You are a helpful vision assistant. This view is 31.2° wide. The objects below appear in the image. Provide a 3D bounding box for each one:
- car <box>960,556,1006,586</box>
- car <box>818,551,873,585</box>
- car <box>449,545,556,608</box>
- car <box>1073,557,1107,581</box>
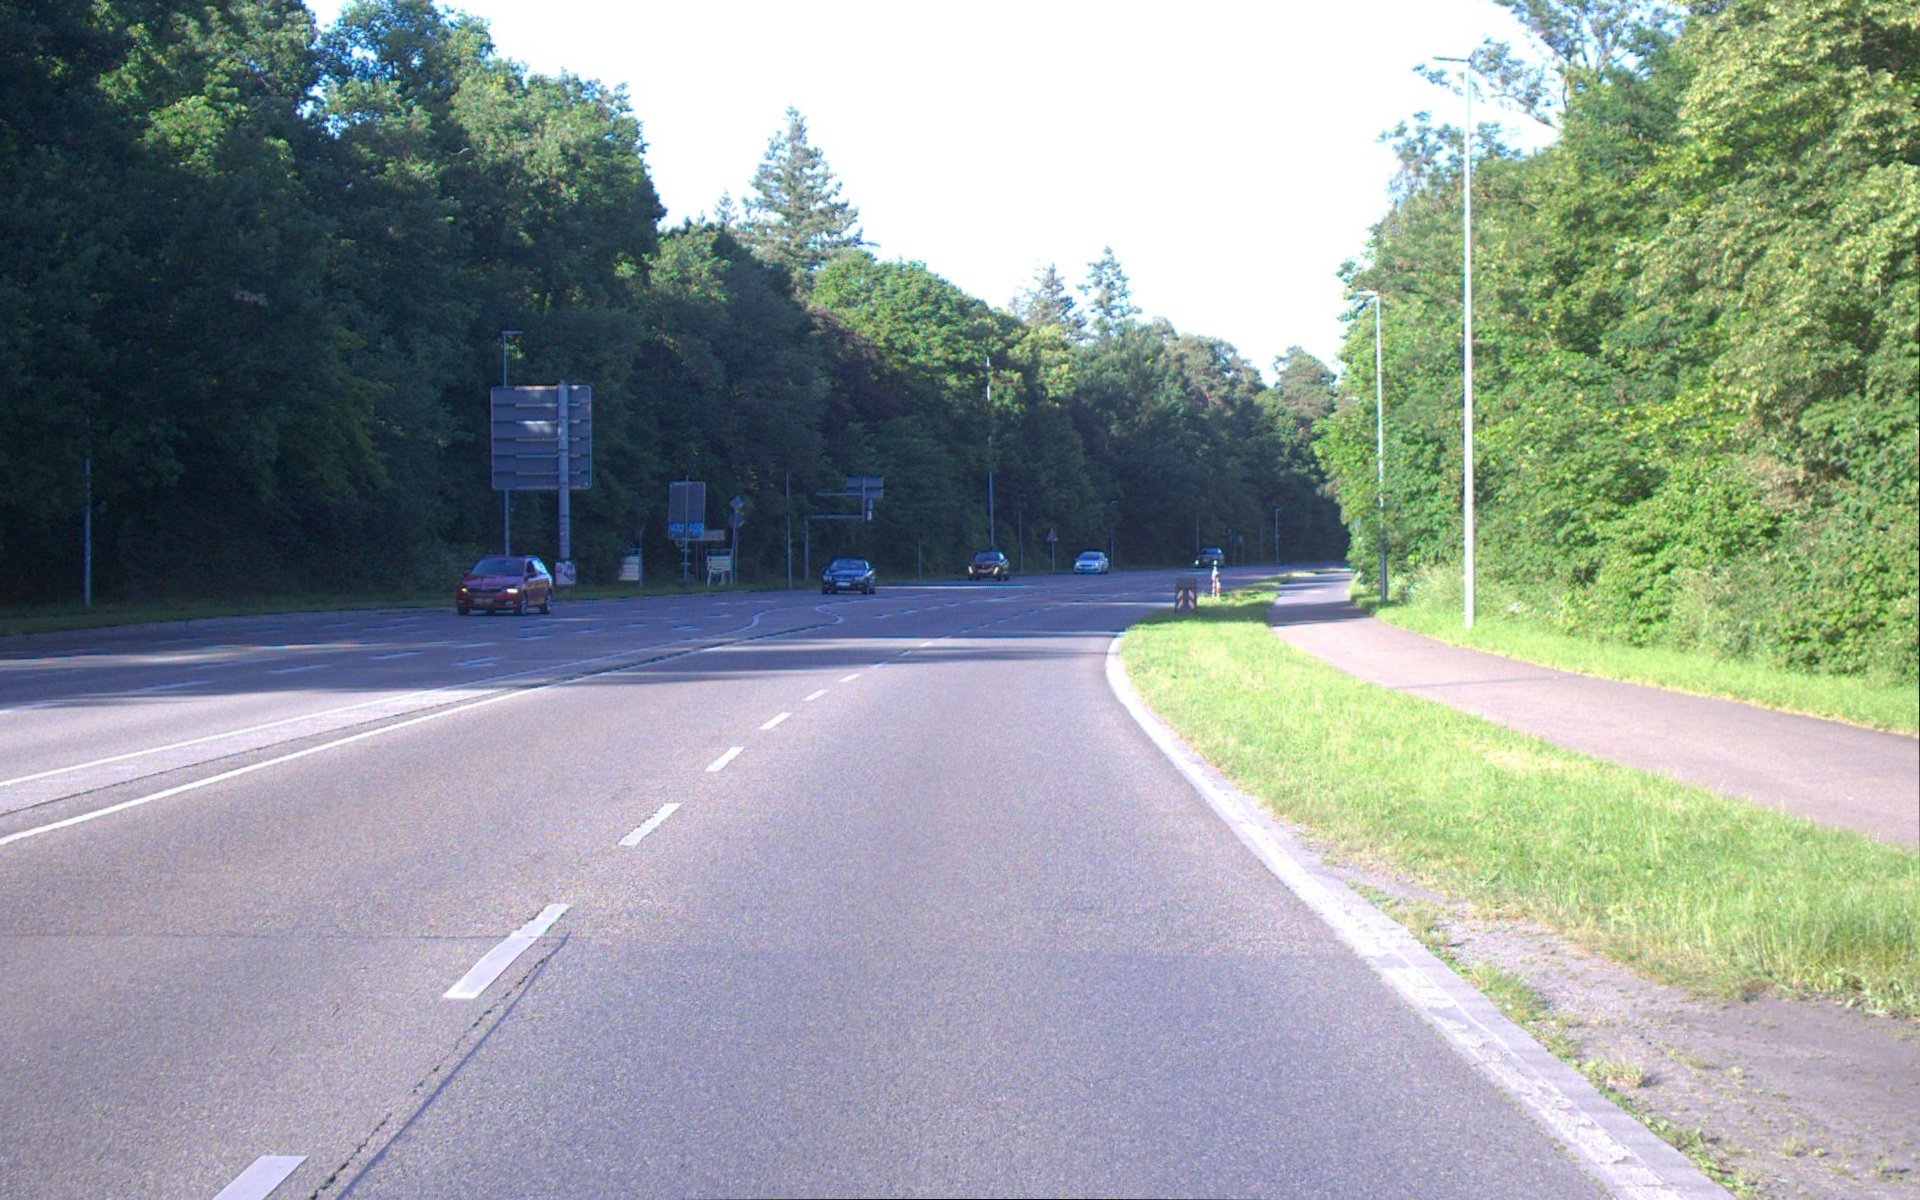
[{"bbox_3d":[1.252,-1.528,182.254,1.825,1.539,4.255,1,1,9],"label":"car"},{"bbox_3d":[-4.303,-1.216,129.539,1.744,1.230,4.673,0,1,2],"label":"car"},{"bbox_3d":[-11.521,-0.608,86.801,1.993,1.559,4.338,0,1,2],"label":"car"},{"bbox_3d":[8.398,-2.003,221.862,1.825,1.499,4.305,1,1,7],"label":"car"}]
